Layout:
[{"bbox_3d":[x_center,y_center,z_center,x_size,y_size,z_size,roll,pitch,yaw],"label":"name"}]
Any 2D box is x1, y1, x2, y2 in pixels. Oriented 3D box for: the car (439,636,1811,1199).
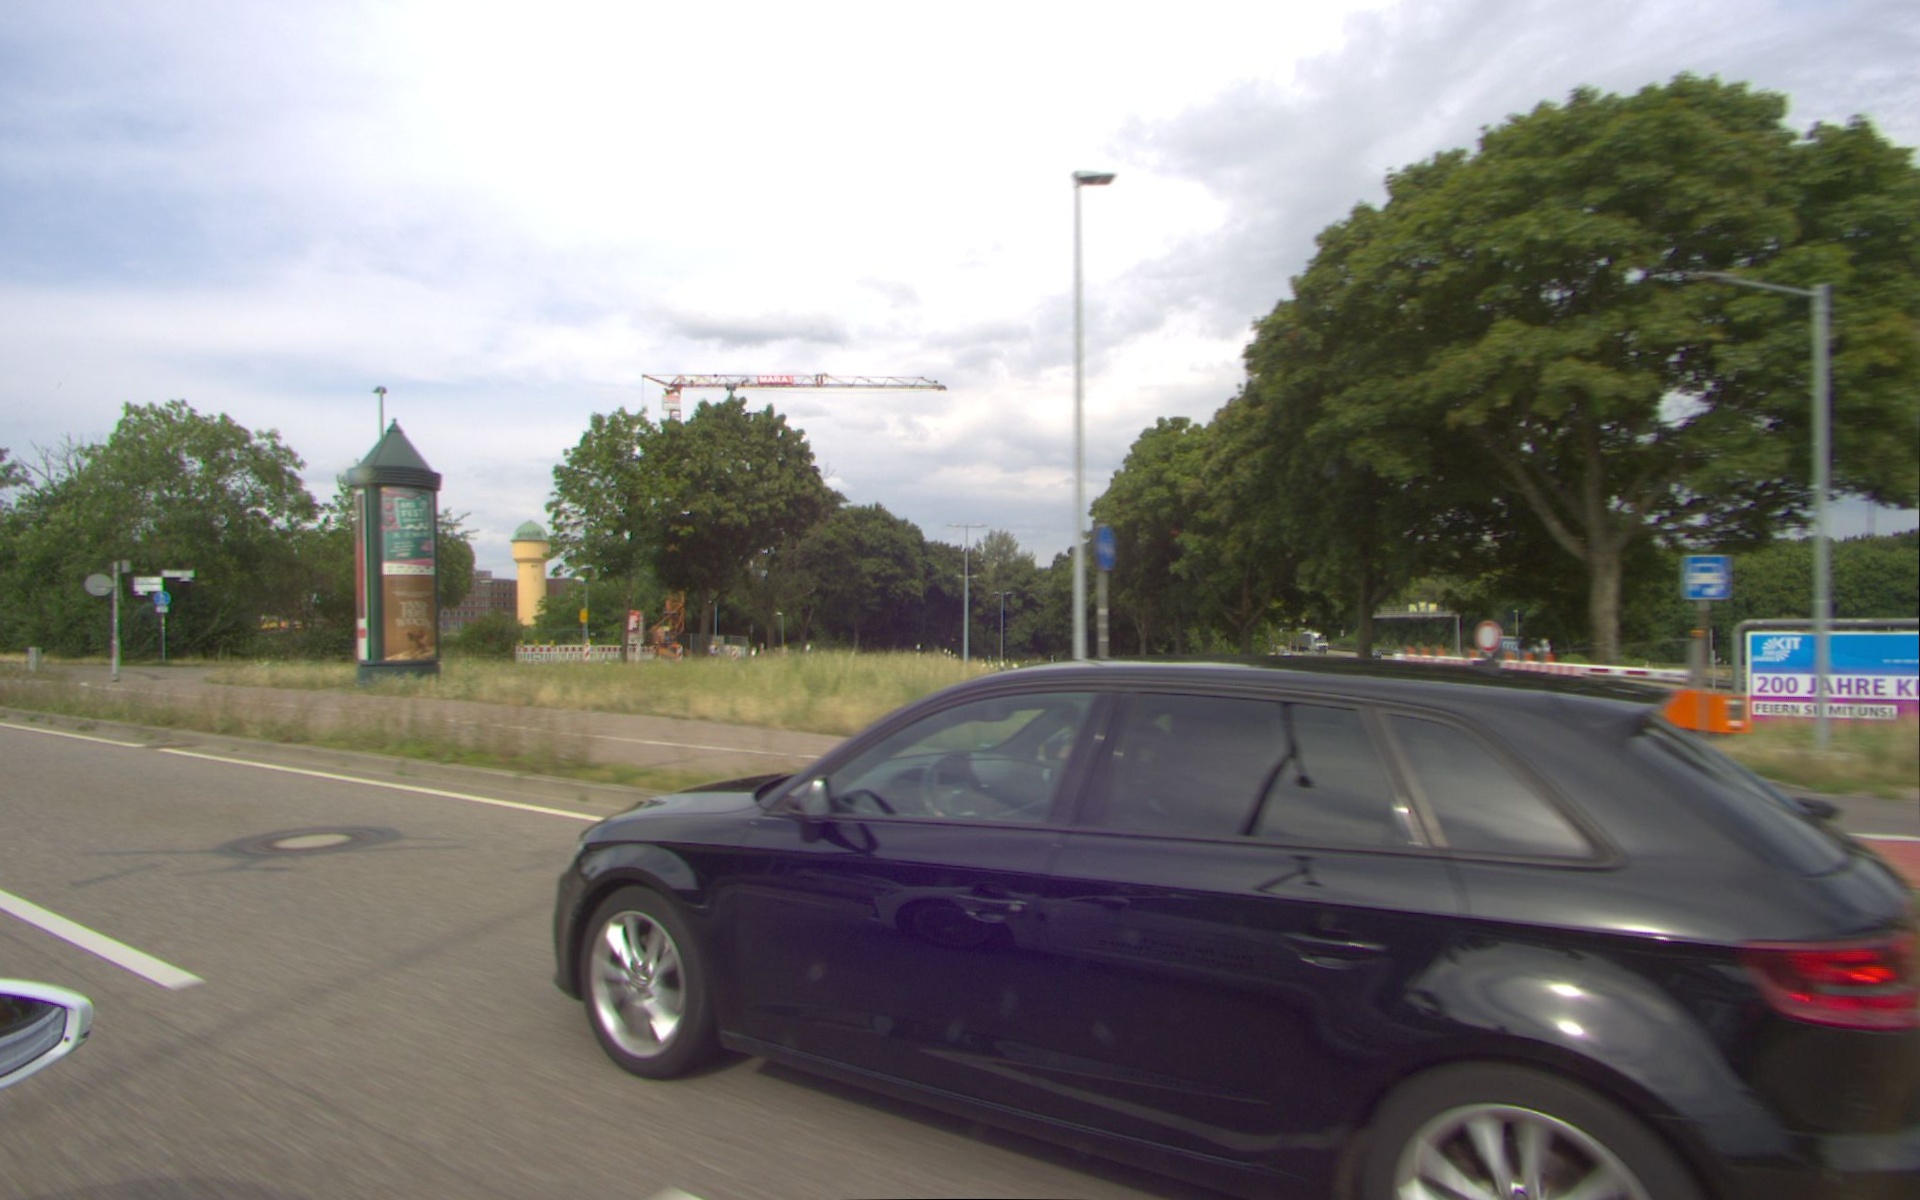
[{"bbox_3d":[0.167,0.856,3.512,4.055,1.413,1.728,-1,-1,32],"label":"car"}]
